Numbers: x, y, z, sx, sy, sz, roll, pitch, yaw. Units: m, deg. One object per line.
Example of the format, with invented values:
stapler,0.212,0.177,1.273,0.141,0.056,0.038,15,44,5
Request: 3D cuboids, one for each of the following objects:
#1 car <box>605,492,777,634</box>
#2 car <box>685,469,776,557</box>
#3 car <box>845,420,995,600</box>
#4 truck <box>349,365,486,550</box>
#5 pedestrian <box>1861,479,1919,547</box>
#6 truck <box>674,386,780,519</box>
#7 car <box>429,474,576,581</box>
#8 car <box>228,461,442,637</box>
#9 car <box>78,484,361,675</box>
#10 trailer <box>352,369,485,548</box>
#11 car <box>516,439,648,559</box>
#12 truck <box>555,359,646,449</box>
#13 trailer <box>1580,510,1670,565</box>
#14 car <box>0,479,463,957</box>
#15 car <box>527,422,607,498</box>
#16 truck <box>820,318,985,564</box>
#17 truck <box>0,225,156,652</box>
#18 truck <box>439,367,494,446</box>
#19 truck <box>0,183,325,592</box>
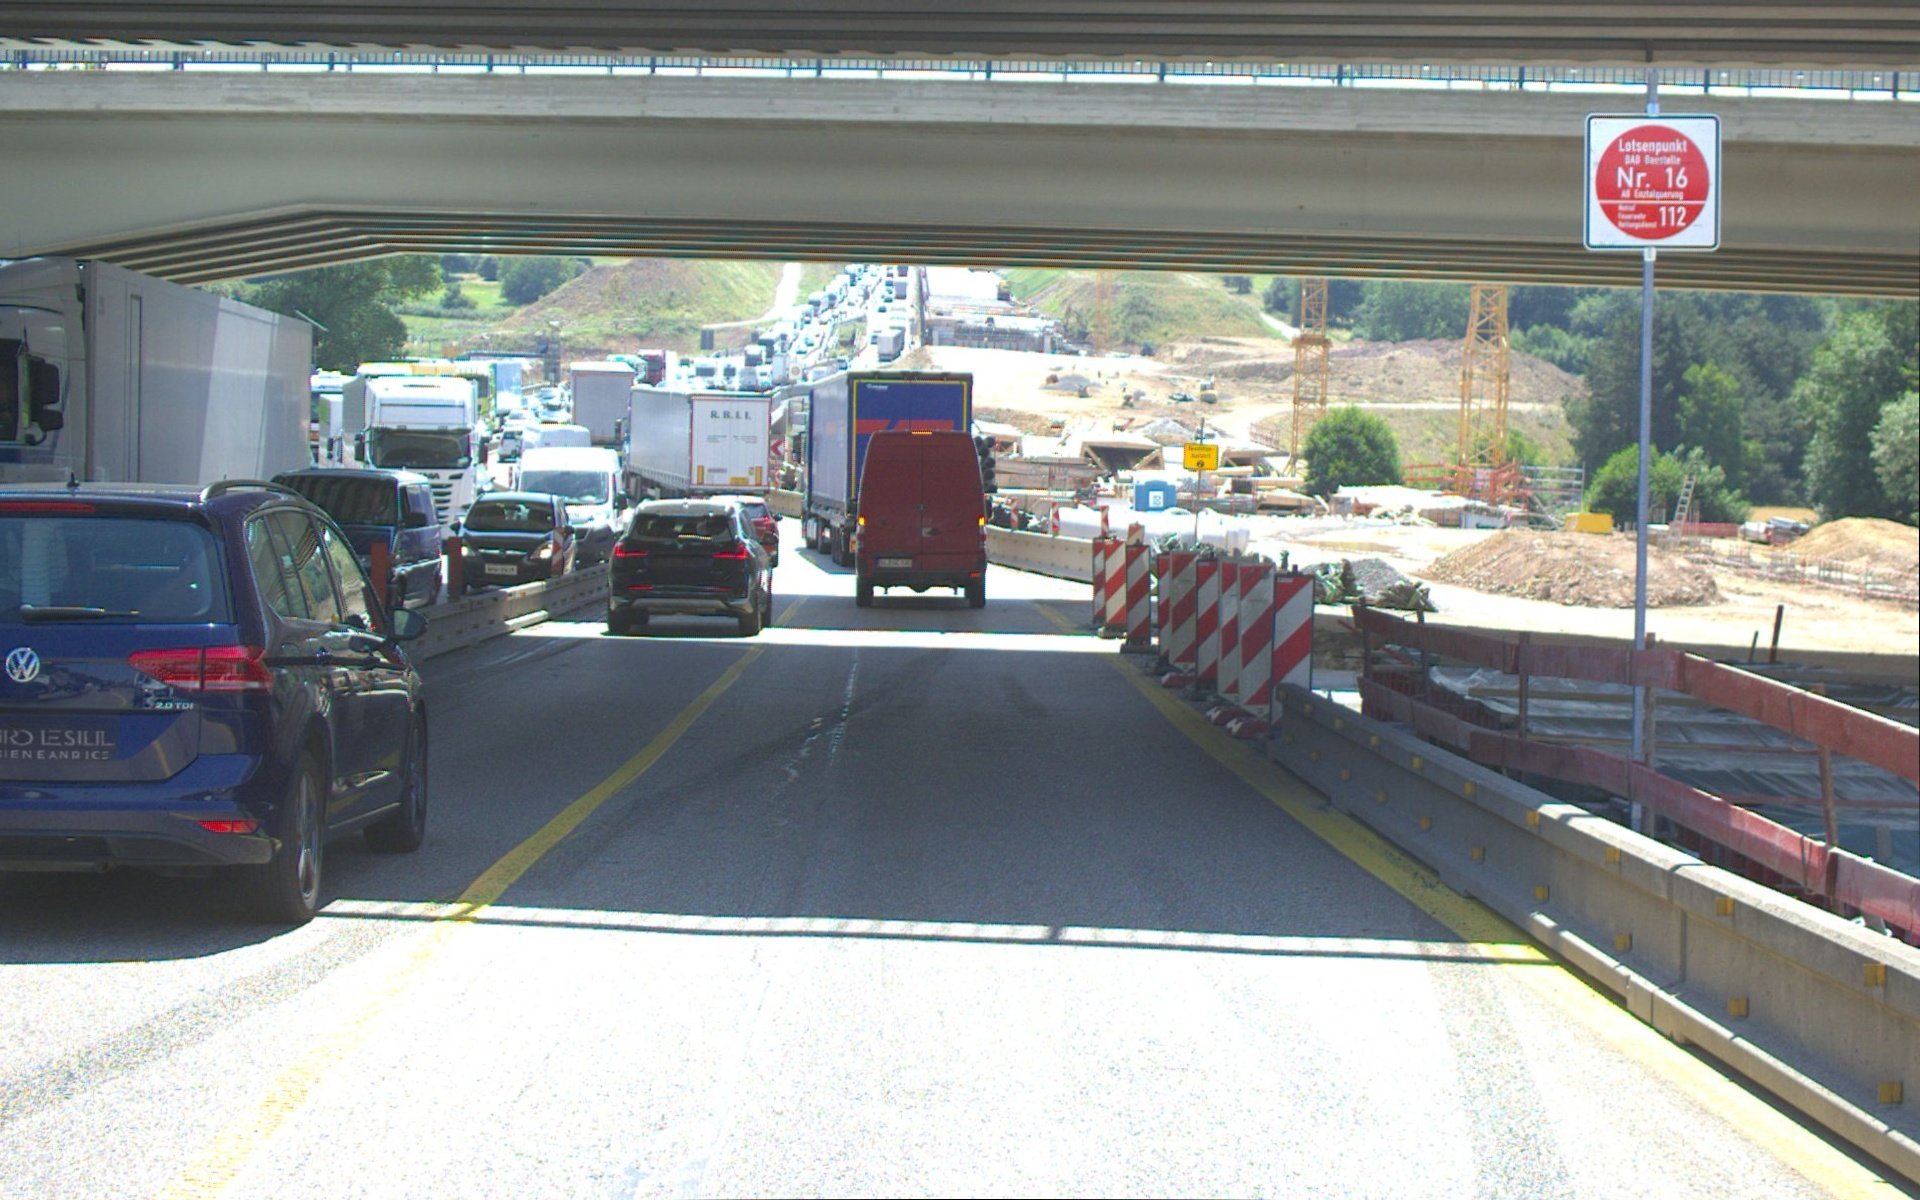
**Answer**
car,-3.283,-0.495,42.641,1.833,1.630,4.390,1,2,-1
car,-4.837,-1.817,72.468,1.833,1.771,4.390,1,1,-4
car,-0.597,-1.338,53.073,2.150,2.602,5.439,1,0,0
truck,-12.575,-3.300,79.803,2.873,4.037,4.887,2,2,-9
pedestrian,29.547,-2.669,106.618,1.993,2.007,4.000,1,0,-2
truck,-7.375,-4.753,109.159,3.181,3.975,6.744,1,4,-4
car,-7.233,-1.164,54.676,1.748,1.604,4.141,1,1,0
car,-7.344,-0.637,40.834,1.799,1.926,4.969,1,1,-2
car,-6.908,-0.254,32.494,1.722,1.604,4.524,2,2,-1
trailer,-13.668,-3.580,86.913,2.876,4.026,14.363,2,2,-9
car,-7.692,-2.056,70.441,1.980,2.322,6.058,1,1,0
truck,-15.451,-8.320,147.142,3.218,3.349,8.943,1,0,-10
trailer,19.642,-1.871,101.731,1.623,1.481,3.827,2,2,-4
car,-3.256,0.361,14.049,1.734,1.630,4.389,1,1,1
car,-13.457,-4.797,117.432,2.264,2.346,5.162,1,4,-11
truck,-1.311,-3.453,73.151,2.944,4.927,6.744,1,4,-5
truck,-10.409,-1.619,36.116,2.659,4.156,5.187,1,0,0
truck,-27.730,-10.905,193.283,2.625,4.255,4.734,2,3,-5
truck,-10.538,-2.308,43.056,2.769,4.299,13.491,1,0,-1
